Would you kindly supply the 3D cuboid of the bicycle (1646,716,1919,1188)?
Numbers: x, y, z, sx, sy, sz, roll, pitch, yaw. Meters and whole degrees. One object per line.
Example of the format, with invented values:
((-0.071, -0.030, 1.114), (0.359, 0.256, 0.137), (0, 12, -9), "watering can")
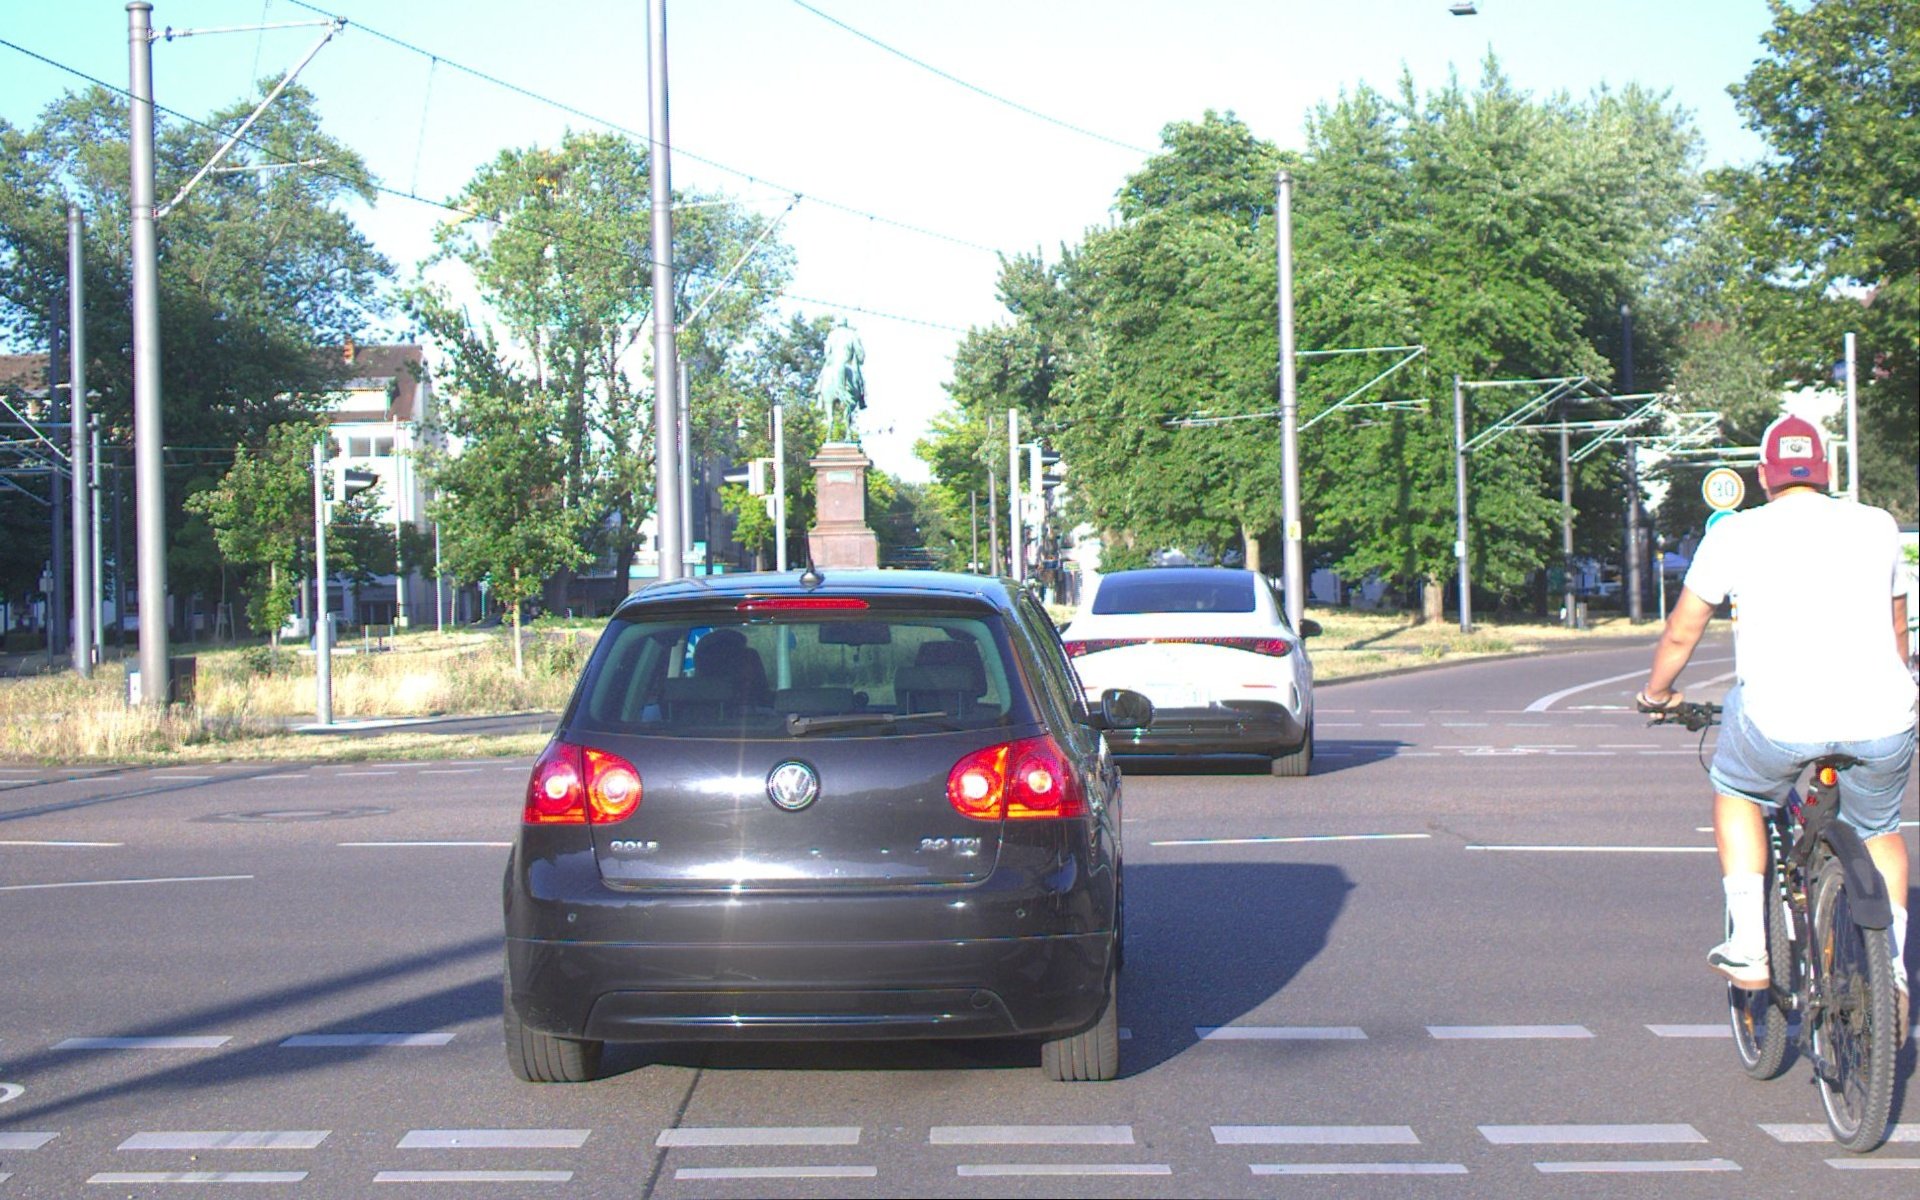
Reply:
((2.184, 0.861, 9.053), (0.478, 1.024, 1.981), (-1, 0, 4), "bicycle")

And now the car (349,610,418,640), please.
((-29.713, 1.279, 177.171), (3.338, 1.502, 1.659), (-1, 0, -3), "car")

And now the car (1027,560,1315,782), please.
((1.591, 0.465, 24.685), (1.865, 1.436, 4.196), (-1, 0, 6), "car")

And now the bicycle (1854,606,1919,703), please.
((11.705, 0.664, 42.870), (0.645, 1.123, 1.874), (-1, 1, 1), "bicycle")

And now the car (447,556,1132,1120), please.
((-0.346, 0.609, 10.980), (1.748, 1.456, 4.103), (0, 0, 3), "car")

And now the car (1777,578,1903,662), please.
((17.023, 0.364, 66.394), (1.730, 1.467, 3.894), (-3, -1, 23), "car")

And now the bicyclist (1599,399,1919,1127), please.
((2.179, 0.402, 9.058), (0.826, 1.801, 1.057), (-1, 0, 4), "bicyclist")
